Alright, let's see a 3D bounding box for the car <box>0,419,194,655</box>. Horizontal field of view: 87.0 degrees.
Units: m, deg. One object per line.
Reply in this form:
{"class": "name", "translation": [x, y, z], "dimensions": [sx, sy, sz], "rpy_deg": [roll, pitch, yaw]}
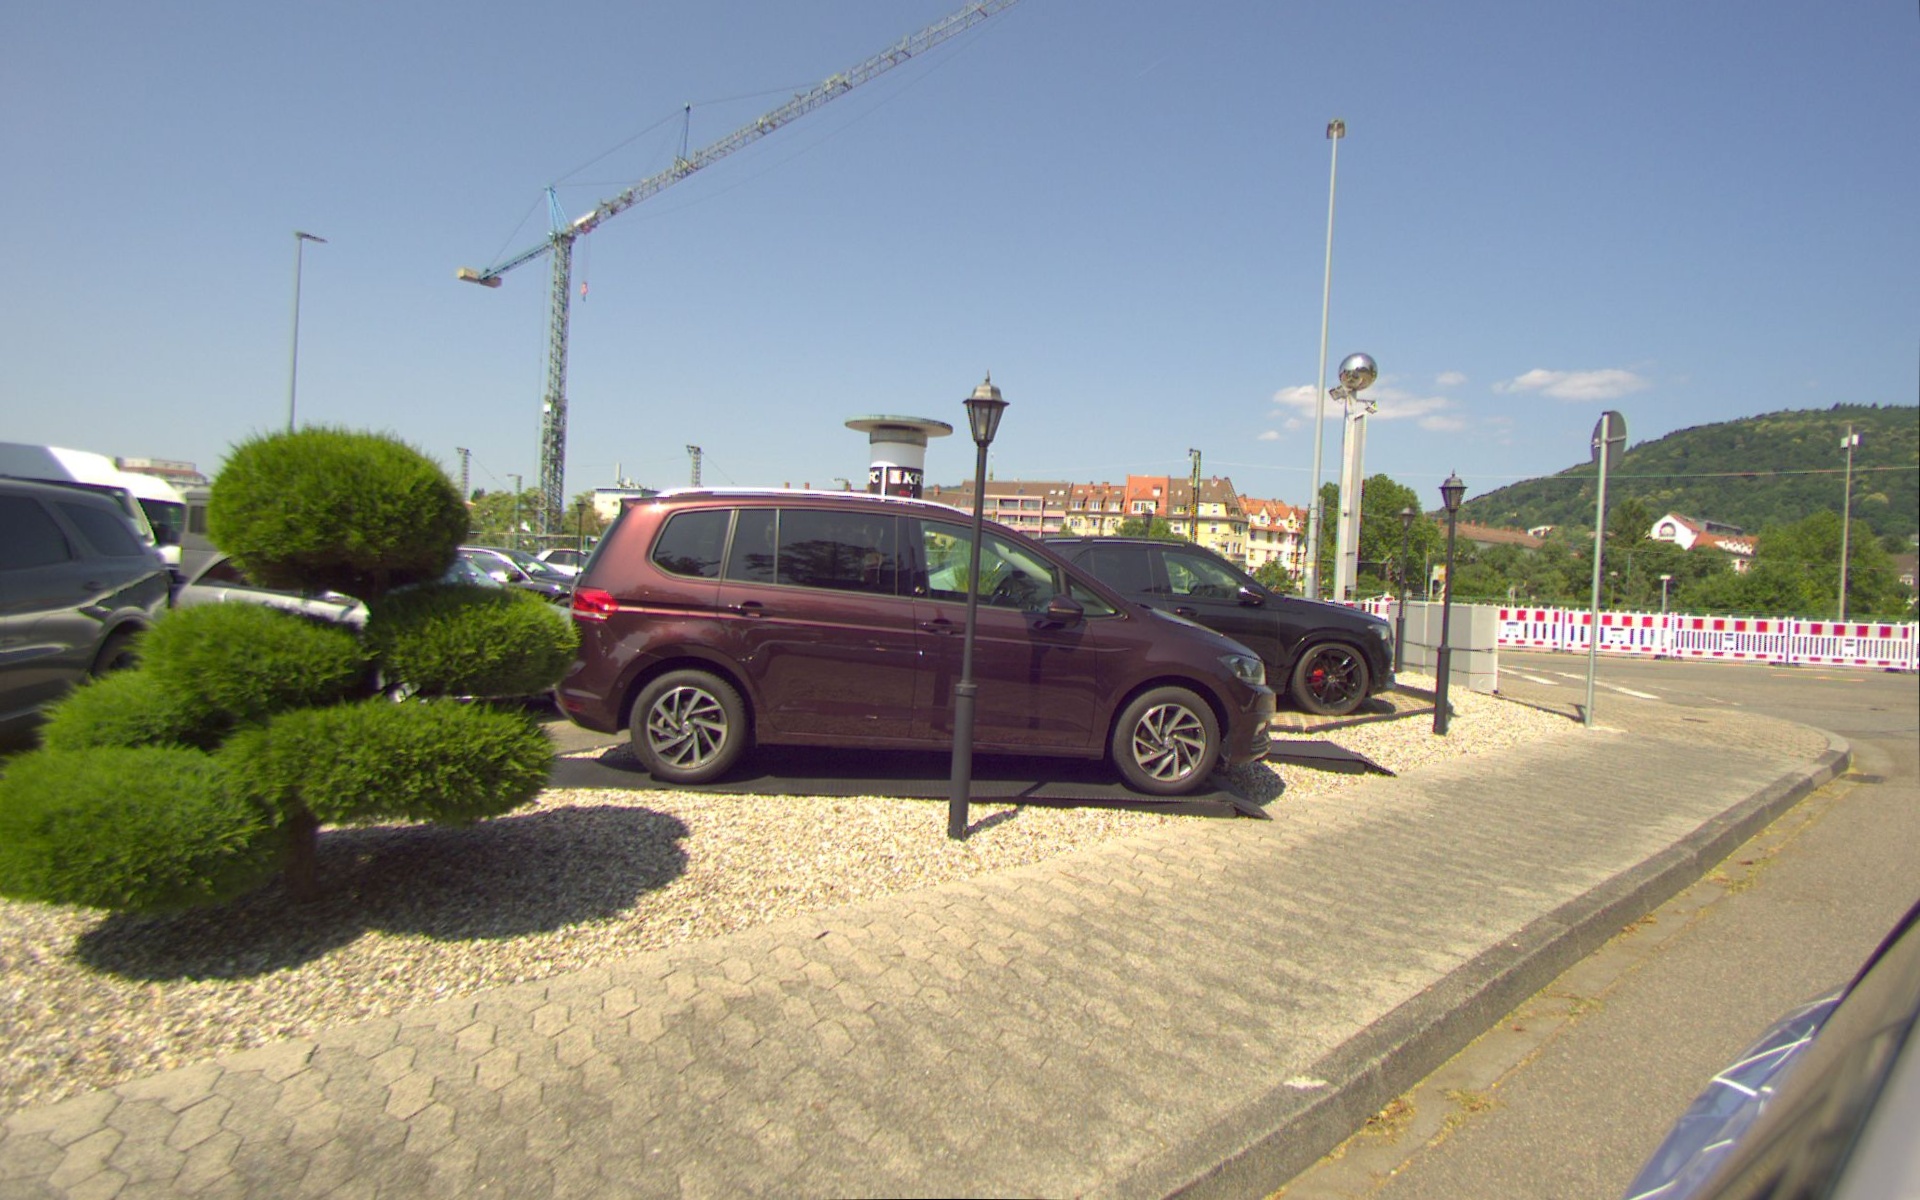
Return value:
{"class": "car", "translation": [-13.333, -0.831, 13.736], "dimensions": [5.959, 2.712, 2.239], "rpy_deg": [2, 1, 26]}

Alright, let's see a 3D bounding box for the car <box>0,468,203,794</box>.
{"class": "car", "translation": [-6.155, 0.144, 5.295], "dimensions": [1.884, 1.784, 5.009], "rpy_deg": [2, 2, -17]}

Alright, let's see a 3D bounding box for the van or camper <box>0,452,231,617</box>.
{"class": "van or camper", "translation": [-14.899, -1.115, 17.050], "dimensions": [4.879, 2.466, 1.985], "rpy_deg": [3, 1, 23]}

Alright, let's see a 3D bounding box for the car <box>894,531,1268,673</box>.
{"class": "car", "translation": [1.618, 0.032, 14.139], "dimensions": [4.716, 1.713, 2.022], "rpy_deg": [2, 1, -15]}

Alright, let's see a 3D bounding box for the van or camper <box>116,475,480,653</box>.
{"class": "van or camper", "translation": [-9.995, -0.565, 15.200], "dimensions": [5.452, 2.289, 2.093], "rpy_deg": [2, 1, 26]}

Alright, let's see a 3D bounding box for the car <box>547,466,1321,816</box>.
{"class": "car", "translation": [-0.172, 0.226, 6.490], "dimensions": [4.204, 1.804, 1.856], "rpy_deg": [2, 2, -6]}

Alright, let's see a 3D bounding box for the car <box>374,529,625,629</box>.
{"class": "car", "translation": [-8.057, -0.376, 17.944], "dimensions": [3.687, 1.569, 1.648], "rpy_deg": [2, 1, -1]}

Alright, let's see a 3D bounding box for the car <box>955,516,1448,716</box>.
{"class": "car", "translation": [2.384, 0.133, 10.930], "dimensions": [4.723, 1.801, 2.019], "rpy_deg": [2, 1, -2]}

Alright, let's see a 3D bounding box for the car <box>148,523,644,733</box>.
{"class": "car", "translation": [-5.259, 0.135, 9.454], "dimensions": [4.160, 1.553, 1.911], "rpy_deg": [3, 2, 23]}

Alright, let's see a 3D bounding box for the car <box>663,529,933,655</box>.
{"class": "car", "translation": [-2.451, -0.146, 16.056], "dimensions": [3.925, 1.727, 1.861], "rpy_deg": [2, 1, 1]}

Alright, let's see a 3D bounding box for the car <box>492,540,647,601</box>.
{"class": "car", "translation": [-11.681, -0.891, 30.315], "dimensions": [3.947, 1.660, 1.989], "rpy_deg": [3, 2, 18]}
